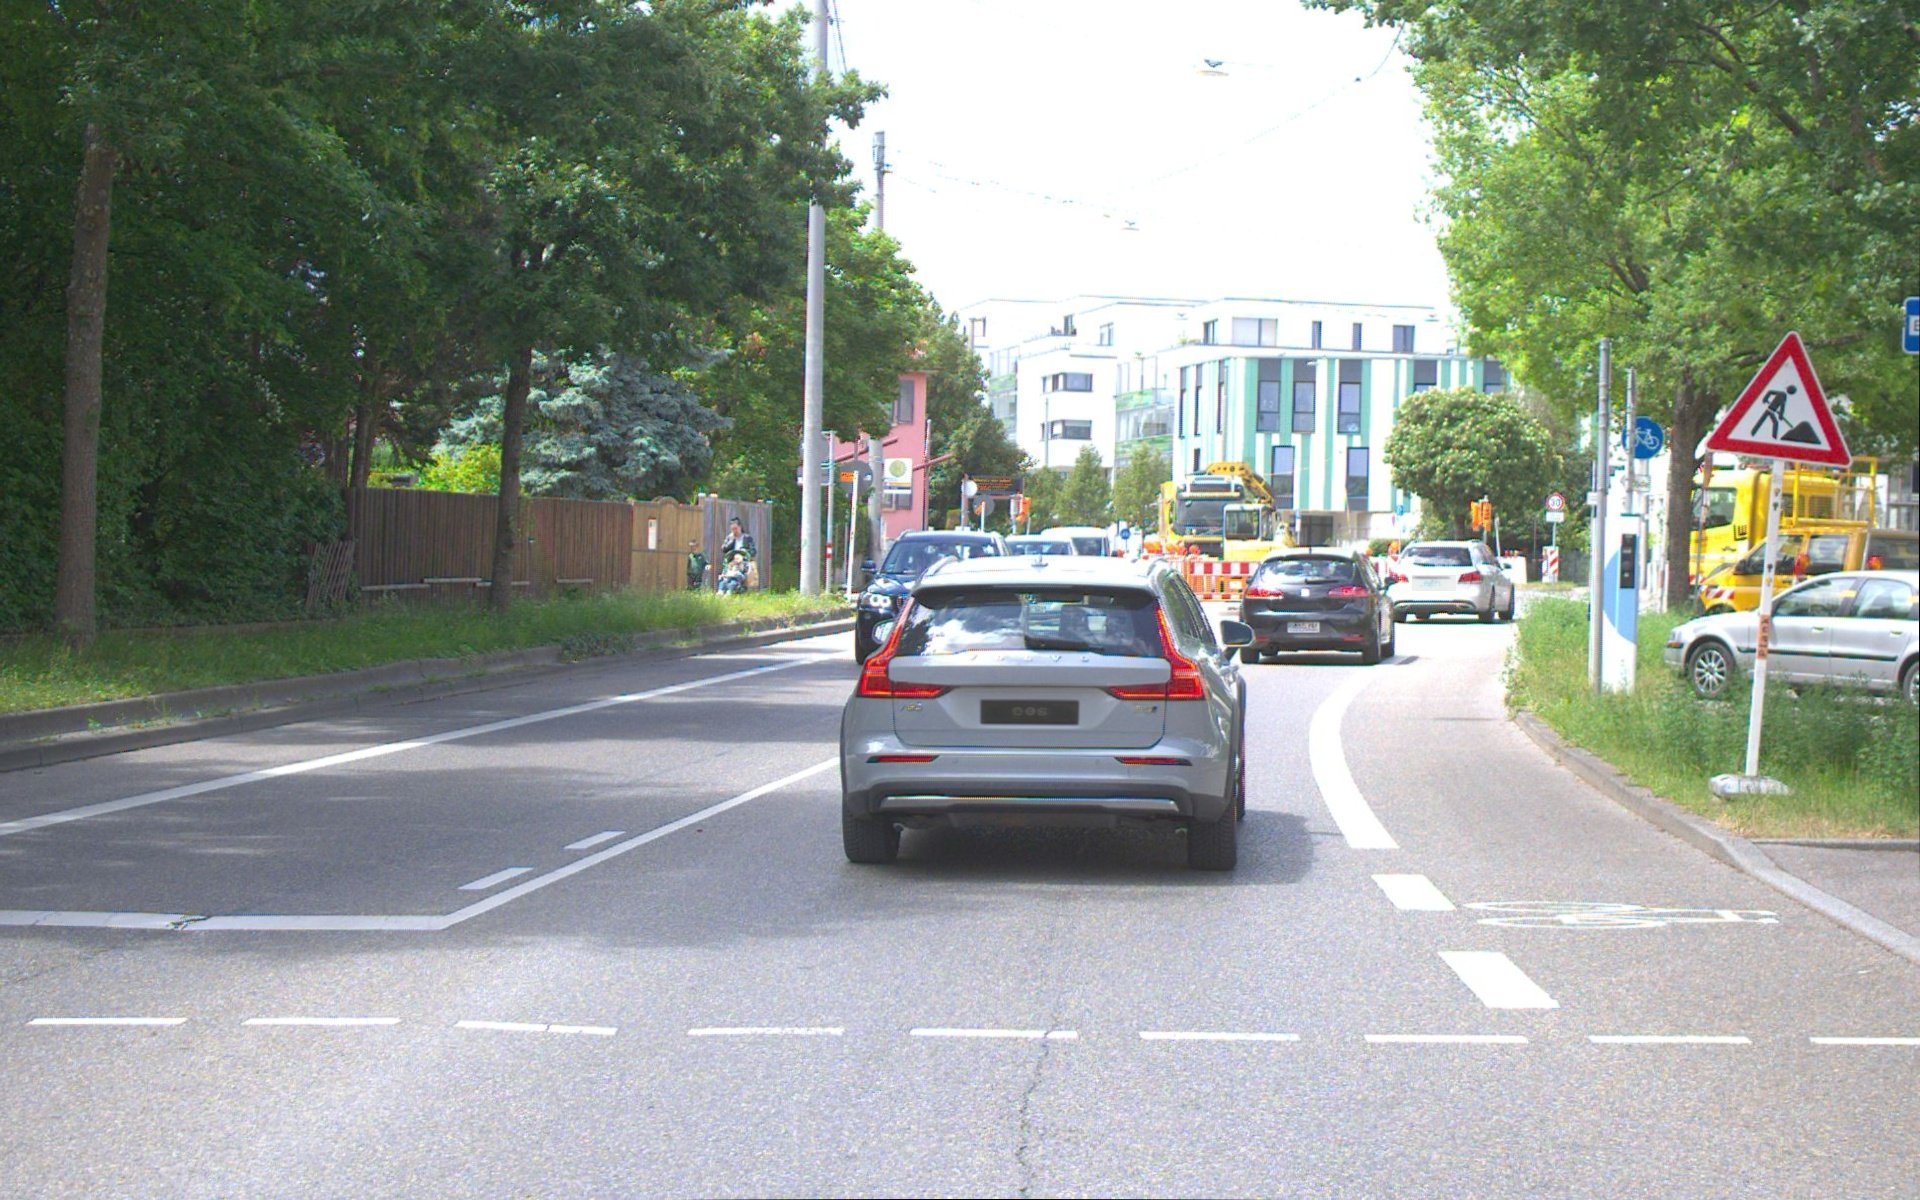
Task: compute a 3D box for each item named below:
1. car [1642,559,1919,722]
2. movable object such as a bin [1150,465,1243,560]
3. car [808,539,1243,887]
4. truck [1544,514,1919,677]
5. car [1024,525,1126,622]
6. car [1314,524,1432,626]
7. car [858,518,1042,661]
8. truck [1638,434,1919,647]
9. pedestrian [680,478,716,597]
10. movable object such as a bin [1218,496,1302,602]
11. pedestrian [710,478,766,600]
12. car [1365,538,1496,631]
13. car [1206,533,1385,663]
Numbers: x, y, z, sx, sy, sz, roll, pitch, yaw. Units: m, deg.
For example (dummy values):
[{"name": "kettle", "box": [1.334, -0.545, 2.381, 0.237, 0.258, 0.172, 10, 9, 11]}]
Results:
[{"name": "car", "box": [9.280, 0.420, 34.621, 1.762, 1.447, 4.689, 2, 1, -37]}, {"name": "movable object such as a bin", "box": [7.739, -2.859, 112.923, 2.310, 2.980, 6.427, 1, 1, -2]}, {"name": "car", "box": [0.438, 0.480, 17.236, 1.928, 1.535, 3.999, 0, 1, 4]}, {"name": "truck", "box": [11.314, -0.084, 49.456, 1.994, 2.007, 5.676, 4, 0, -40]}, {"name": "car", "box": [2.055, -0.450, 60.796, 1.708, 1.612, 4.000, 1, 0, 3]}, {"name": "car", "box": [9.067, -0.530, 75.203, 1.995, 2.007, 3.997, 4, 0, 13]}, {"name": "car", "box": [-0.072, -0.156, 42.839, 1.880, 1.681, 4.246, 0, 1, 6]}, {"name": "truck", "box": [13.767, -0.841, 51.427, 2.762, 2.998, 6.705, 4, 0, -39]}, {"name": "pedestrian", "box": [-4.497, -1.075, 59.010, 0.402, 2.007, 0.414, 4, 0, 8]}, {"name": "movable object such as a bin", "box": [7.842, -1.342, 89.408, 2.035, 2.634, 5.938, 1, 1, 6]}, {"name": "pedestrian", "box": [-3.764, -1.027, 58.359, 0.715, 2.007, 0.771, 4, 0, 4]}, {"name": "car", "box": [8.565, -0.262, 62.886, 2.103, 1.505, 3.999, 4, 0, 5]}, {"name": "car", "box": [4.197, -0.030, 43.454, 1.661, 1.503, 3.703, 2, 0, -3]}]
